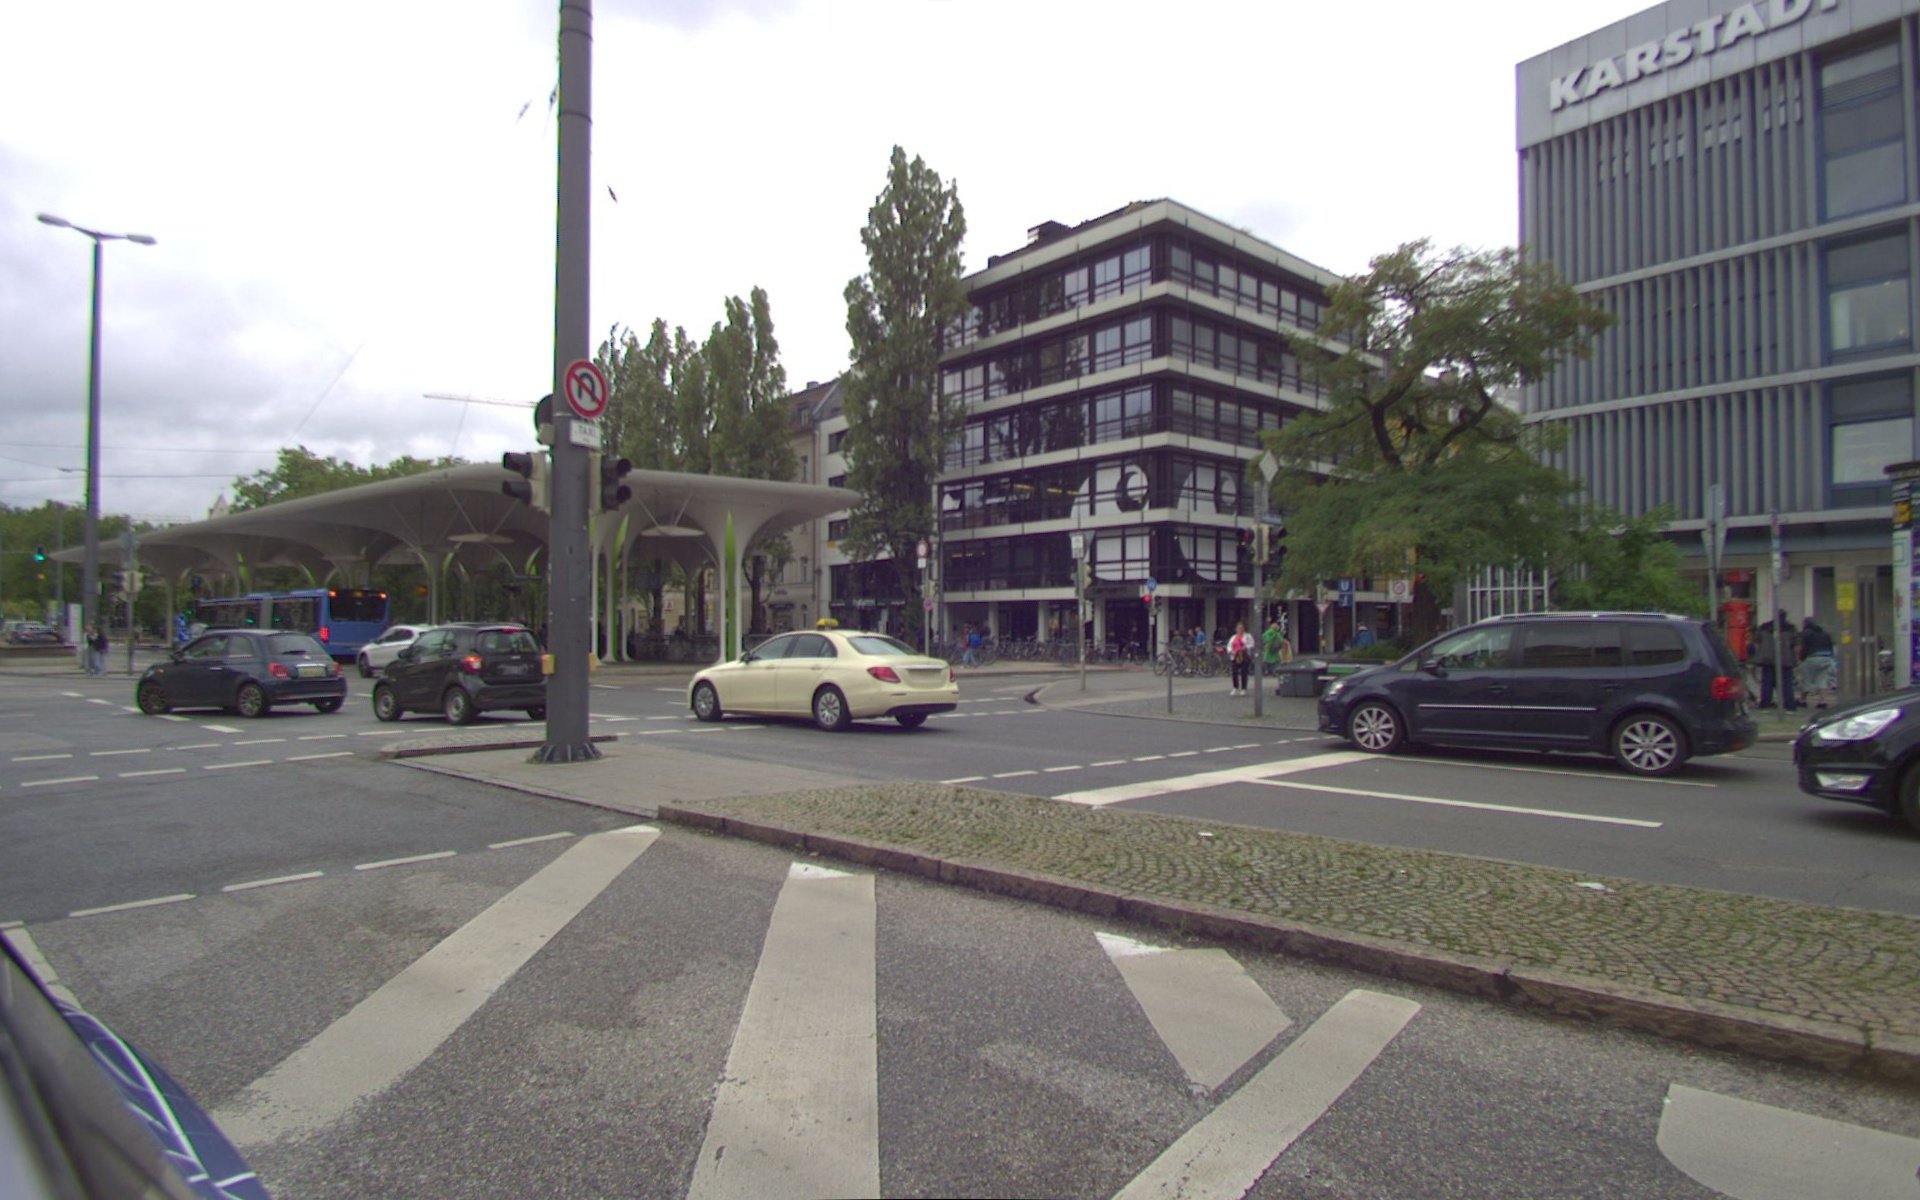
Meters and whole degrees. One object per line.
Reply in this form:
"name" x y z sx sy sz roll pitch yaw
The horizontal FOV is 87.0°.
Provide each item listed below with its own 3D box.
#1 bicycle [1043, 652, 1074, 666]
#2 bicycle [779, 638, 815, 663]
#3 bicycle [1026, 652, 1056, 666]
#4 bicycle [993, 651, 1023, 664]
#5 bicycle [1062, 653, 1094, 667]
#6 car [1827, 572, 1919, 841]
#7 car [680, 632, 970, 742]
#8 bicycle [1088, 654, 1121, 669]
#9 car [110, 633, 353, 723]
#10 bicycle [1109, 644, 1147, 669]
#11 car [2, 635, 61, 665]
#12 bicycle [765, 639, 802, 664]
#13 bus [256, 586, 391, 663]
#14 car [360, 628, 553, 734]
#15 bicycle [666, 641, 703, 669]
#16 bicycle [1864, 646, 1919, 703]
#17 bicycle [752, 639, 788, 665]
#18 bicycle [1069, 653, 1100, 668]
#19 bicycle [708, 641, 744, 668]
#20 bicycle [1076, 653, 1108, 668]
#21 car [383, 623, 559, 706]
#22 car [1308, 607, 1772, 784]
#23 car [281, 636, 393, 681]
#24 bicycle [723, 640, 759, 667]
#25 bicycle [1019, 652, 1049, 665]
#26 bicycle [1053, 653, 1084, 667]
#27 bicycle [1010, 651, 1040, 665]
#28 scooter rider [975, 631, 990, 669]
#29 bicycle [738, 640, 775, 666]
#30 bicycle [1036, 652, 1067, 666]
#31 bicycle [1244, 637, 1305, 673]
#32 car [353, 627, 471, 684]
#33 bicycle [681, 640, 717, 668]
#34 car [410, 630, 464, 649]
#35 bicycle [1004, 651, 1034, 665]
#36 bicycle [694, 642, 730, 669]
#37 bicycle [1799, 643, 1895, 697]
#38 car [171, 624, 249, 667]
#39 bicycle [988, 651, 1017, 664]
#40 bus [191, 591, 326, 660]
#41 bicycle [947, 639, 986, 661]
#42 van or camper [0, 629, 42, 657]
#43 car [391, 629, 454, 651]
"bicycle" 4.735 2.840 48.520 1.607 0.637 0.364 1 -2 -35
"bicycle" -7.481 2.312 46.353 0.645 1.127 2.186 1 -2 -39
"bicycle" 3.959 2.863 49.309 1.607 0.637 0.364 1 -2 -35
"bicycle" 2.433 2.909 51.244 1.607 0.637 0.364 1 -2 -35
"bicycle" 5.556 2.816 47.476 1.607 0.637 0.430 1 -2 -35
"car" 8.286 0.682 6.108 4.586 1.752 1.916 -2 -4 41
"car" -2.166 1.213 15.345 4.637 1.432 1.747 -2 -3 41
"bicycle" 6.586 2.785 46.136 1.607 0.637 0.430 1 -2 -35
"car" -12.726 1.322 17.736 3.504 1.457 1.544 -1 -2 13
"bicycle" 7.417 2.497 44.759 1.611 1.082 0.429 0 -2 -1
"car" -49.312 2.672 53.728 4.276 1.520 1.648 -3 -4 39
"bicycle" -8.034 2.329 45.922 0.645 1.127 2.186 1 -2 -39
"bus" -27.198 1.105 43.120 7.507 3.031 2.633 -2 -4 40
"car" -8.040 1.222 16.141 2.828 1.546 1.492 -1 -2 32
"bicycle" -11.637 2.314 42.731 0.633 1.133 2.169 1 -2 -40
"bicycle" 20.646 1.563 21.839 3.621 1.108 0.807 1 -2 -34
"bicycle" -8.558 2.346 45.530 0.645 1.127 2.186 1 -2 -39
"bicycle" 5.817 2.808 47.115 1.607 0.637 0.364 1 -2 -35
"bicycle" -10.222 2.374 44.220 0.645 1.127 2.186 1 -2 -39
"bicycle" 6.086 2.800 46.727 1.607 0.637 0.430 1 -2 -35
"car" -11.013 1.373 22.649 4.727 1.683 1.726 -2 -2 39
"car" 6.376 0.952 11.431 4.256 1.626 1.820 -2 -2 41
"car" -21.523 1.975 34.910 4.162 1.422 1.974 -2 -2 38
"bicycle" -9.662 2.356 44.646 0.645 1.127 2.186 1 -2 -39
"bicycle" 3.642 2.873 49.756 1.607 0.637 0.364 1 -2 -35
"bicycle" 5.151 2.828 47.942 1.607 0.637 0.364 1 -2 -35
"bicycle" 3.239 2.885 50.228 1.607 0.637 0.364 1 -2 -35
"scooter rider" 1.109 2.482 50.022 0.660 1.849 0.618 -1 -2 10
"bicycle" -9.080 2.362 45.121 0.645 1.127 2.186 1 -2 -39
"bicycle" 4.423 2.849 48.833 1.607 0.637 0.364 1 -2 -35
"bicycle" 10.710 1.867 34.481 1.893 1.119 0.578 0 -1 41
"car" -16.344 1.635 30.114 3.996 1.608 1.681 -2 -4 39
"bicycle" -11.155 2.300 43.199 0.633 1.133 2.169 1 -2 -40
"car" -46.582 3.535 90.142 3.938 1.628 1.833 1 -2 -42
"bicycle" 2.950 2.893 50.622 1.607 0.637 0.364 1 -2 -35
"bicycle" -10.757 2.391 43.809 0.645 1.127 2.186 1 -2 -39
"bicycle" 20.247 1.564 23.070 3.383 1.108 0.789 1 -2 -34
"car" -31.110 1.855 41.936 3.997 1.674 1.764 -2 -2 41
"bicycle" 2.160 2.917 51.574 1.607 0.637 0.364 1 -2 -35
"bus" -34.073 1.312 48.928 10.507 3.031 2.633 -2 -4 40
"bicycle" 0.306 2.269 46.020 1.702 0.946 0.456 1 -1 -15
"van or camper" -63.900 2.869 68.375 5.433 1.840 1.909 -2 -2 39
"car" -49.015 3.617 92.328 4.852 1.962 1.874 1 -2 -39
